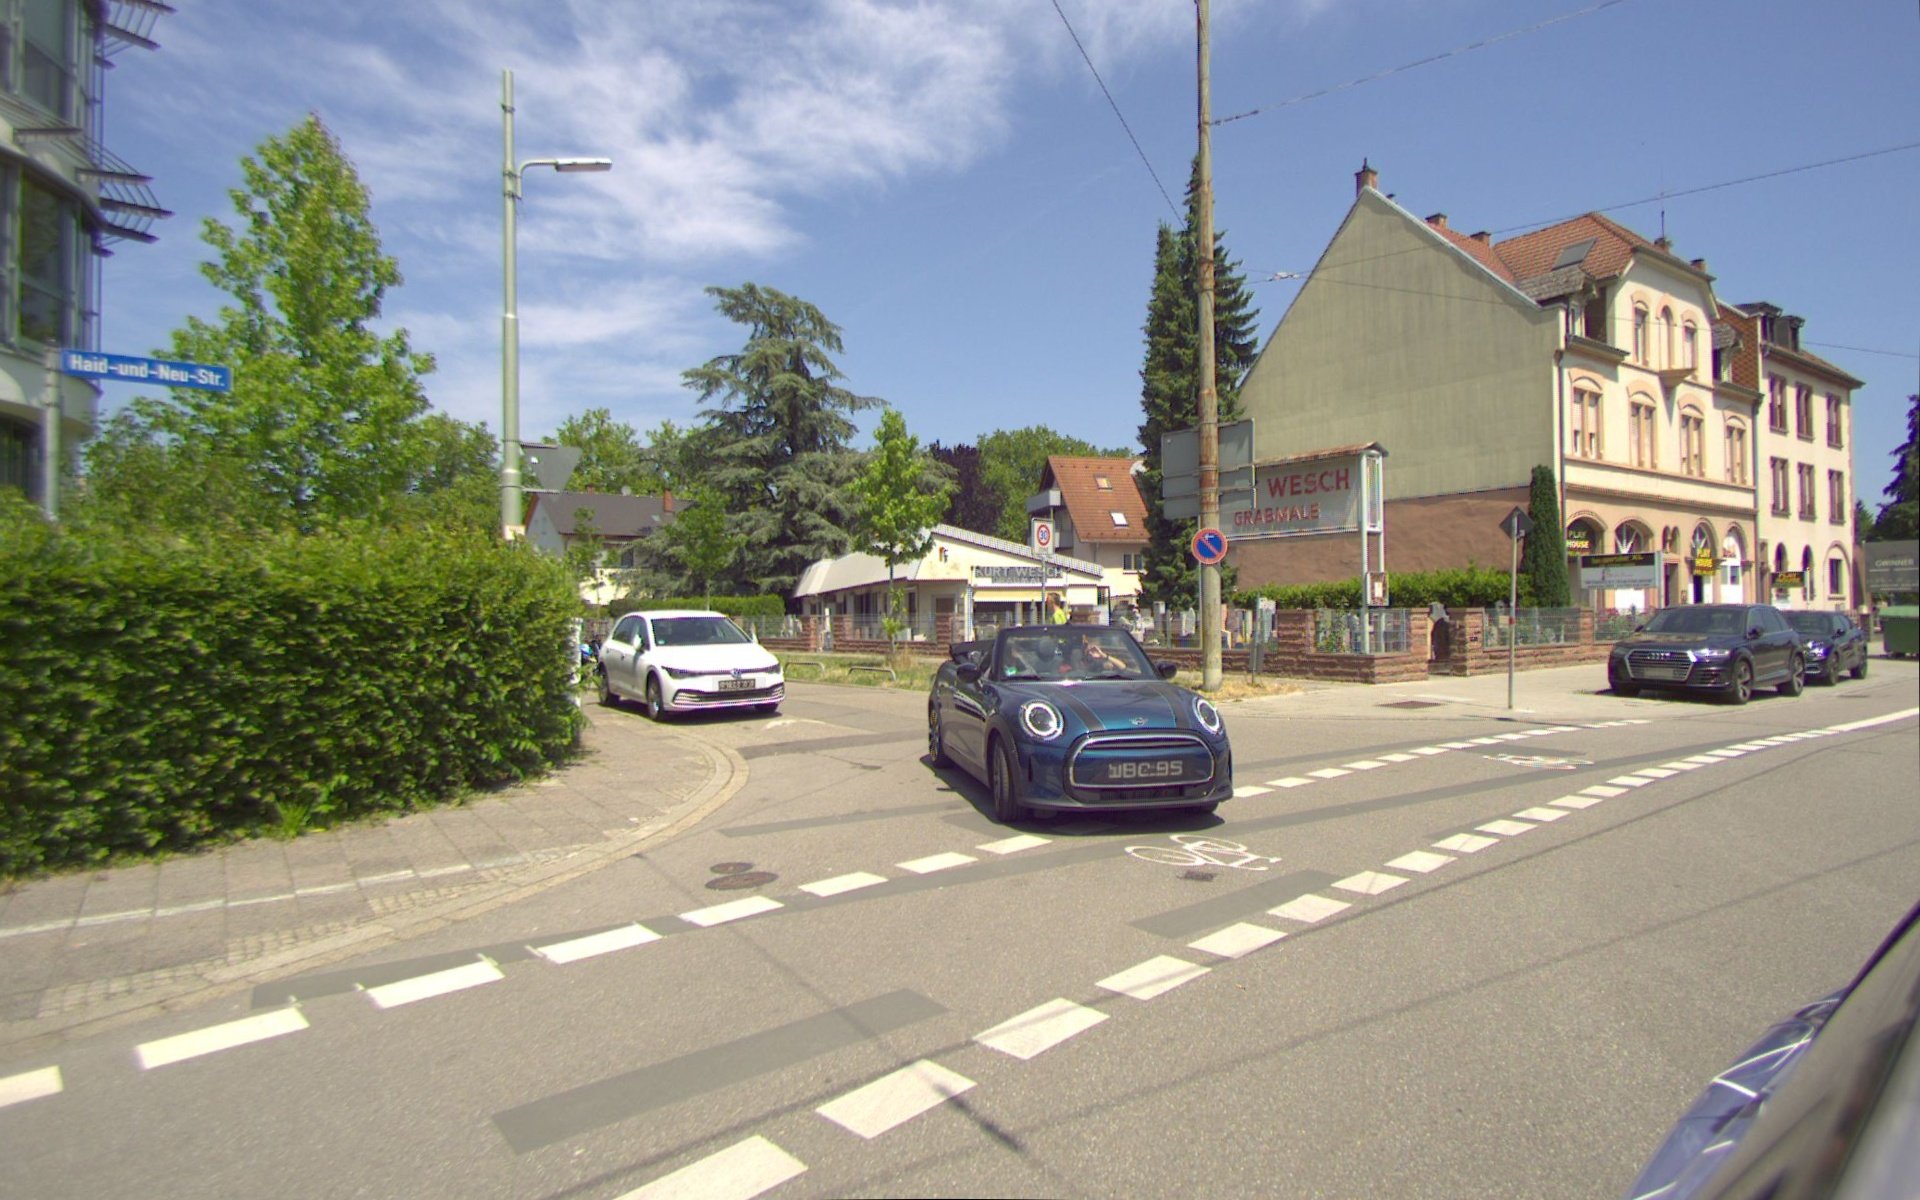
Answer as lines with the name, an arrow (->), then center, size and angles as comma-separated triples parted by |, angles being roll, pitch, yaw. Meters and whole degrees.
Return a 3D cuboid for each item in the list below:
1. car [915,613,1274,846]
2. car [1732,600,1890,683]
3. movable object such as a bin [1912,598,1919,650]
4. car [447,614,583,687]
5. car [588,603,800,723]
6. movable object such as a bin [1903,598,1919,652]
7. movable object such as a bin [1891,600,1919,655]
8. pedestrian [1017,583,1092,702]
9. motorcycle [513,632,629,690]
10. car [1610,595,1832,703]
car -> 0.797, 0.824, 8.342 | 1.668, 1.389, 3.933 | -1, 0, -12
car -> 18.768, 0.829, 22.260 | 4.385, 1.567, 1.777 | -1, 1, -37
movable object such as a bin -> 28.133, 0.695, 28.790 | 1.119, 1.473, 1.394 | 0, 1, -41
car -> -9.764, 1.030, 22.034 | 1.736, 1.427, 4.157 | 0, -1, -38
car -> -4.031, 0.815, 14.838 | 1.783, 1.478, 4.162 | 0, -1, -33
movable object such as a bin -> 27.210, 0.698, 28.192 | 1.039, 1.473, 1.249 | 0, 1, -41
movable object such as a bin -> 26.367, 0.739, 27.579 | 1.039, 1.473, 1.326 | 0, 1, -41
pedestrian -> 1.392, 0.614, 14.881 | 0.833, 1.688, 0.726 | -2, -2, 32
motorcycle -> -7.379, 1.156, 19.231 | 1.979, 1.047, 0.600 | -1, -1, 1
car -> 14.028, 0.783, 18.557 | 4.987, 1.714, 1.930 | 0, 1, -37
